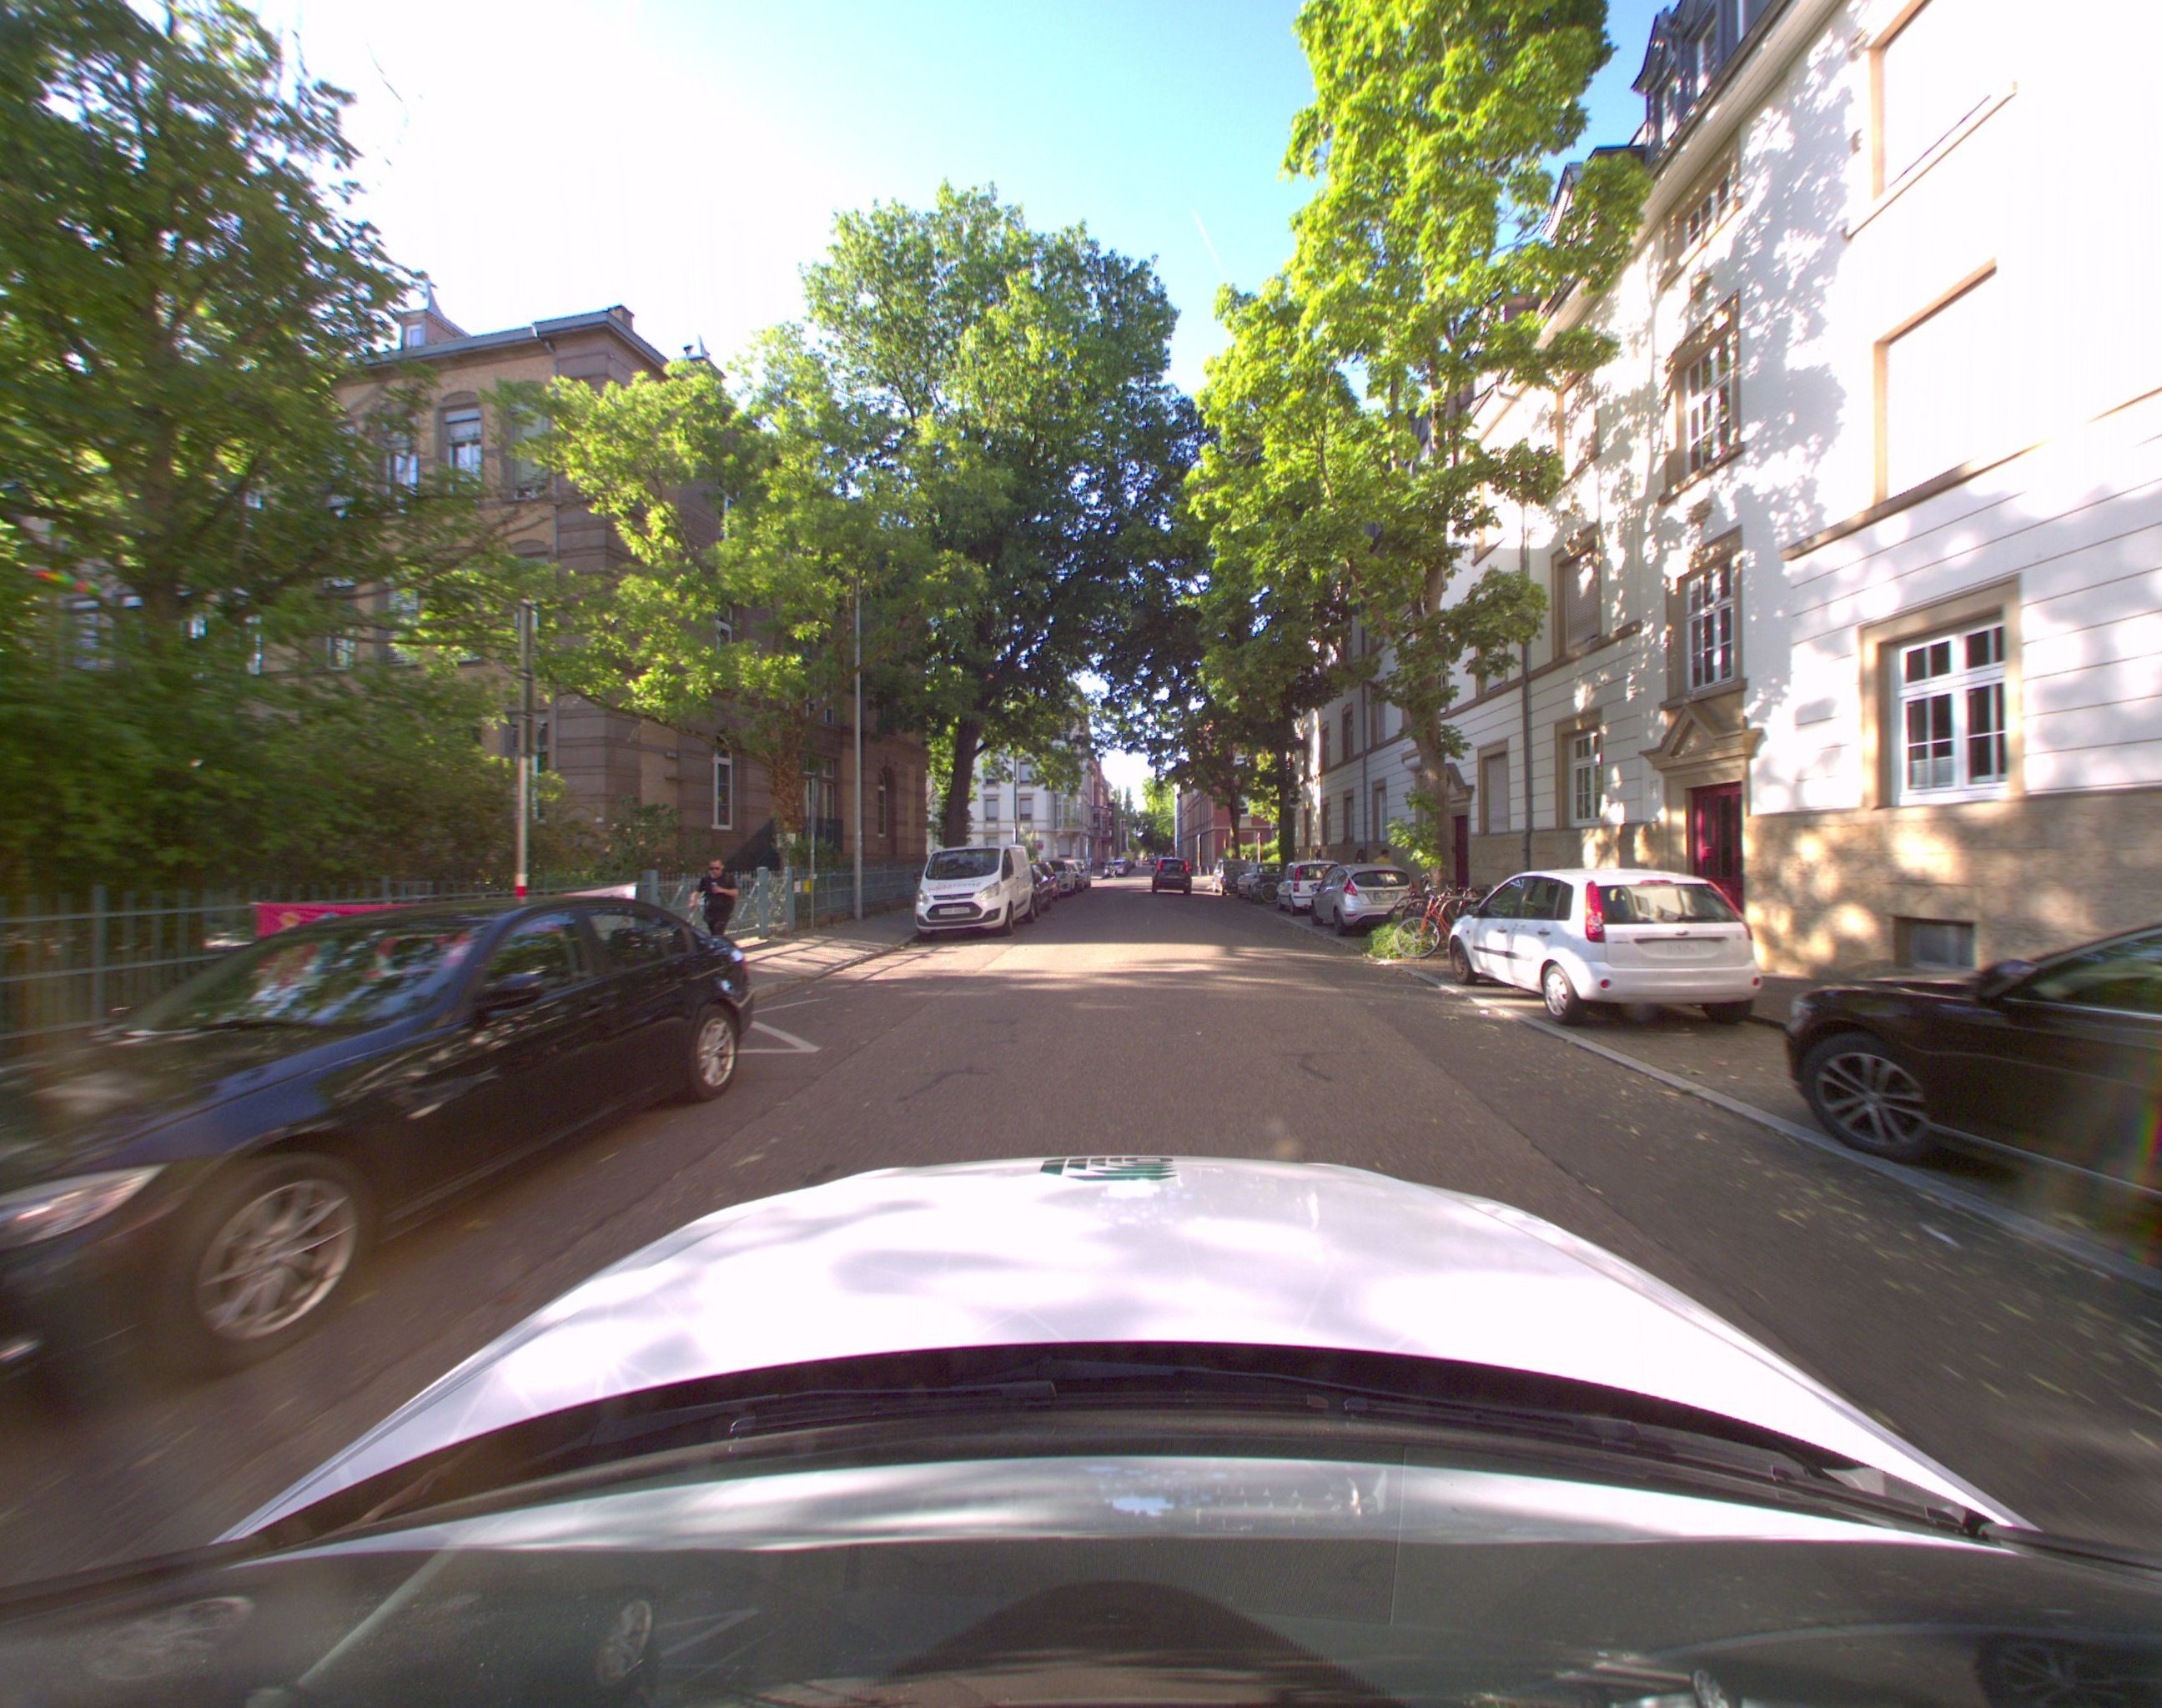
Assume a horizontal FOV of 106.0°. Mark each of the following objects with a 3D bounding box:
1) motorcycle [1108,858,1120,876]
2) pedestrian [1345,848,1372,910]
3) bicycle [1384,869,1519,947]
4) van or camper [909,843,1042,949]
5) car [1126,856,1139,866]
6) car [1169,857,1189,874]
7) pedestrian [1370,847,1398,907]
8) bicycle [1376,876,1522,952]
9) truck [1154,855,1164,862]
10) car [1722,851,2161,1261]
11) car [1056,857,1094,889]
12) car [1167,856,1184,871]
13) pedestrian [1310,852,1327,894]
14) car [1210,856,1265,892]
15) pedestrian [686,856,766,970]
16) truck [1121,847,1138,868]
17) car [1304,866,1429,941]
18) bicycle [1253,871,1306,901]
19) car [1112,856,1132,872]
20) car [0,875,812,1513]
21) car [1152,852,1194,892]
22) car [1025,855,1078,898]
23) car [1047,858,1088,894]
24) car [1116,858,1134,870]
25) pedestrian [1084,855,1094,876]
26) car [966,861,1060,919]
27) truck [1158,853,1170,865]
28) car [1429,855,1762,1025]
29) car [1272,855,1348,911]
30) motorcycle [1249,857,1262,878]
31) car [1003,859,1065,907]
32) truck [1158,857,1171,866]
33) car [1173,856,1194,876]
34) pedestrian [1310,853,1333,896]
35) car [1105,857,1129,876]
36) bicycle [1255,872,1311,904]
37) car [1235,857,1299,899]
[{"bbox_3d":[2.732,1.064,67.858,0.695,1.460,1.748,-2,0,-5],"label":"motorcycle"},{"bbox_3d":[7.958,0.694,23.397,0.517,1.735,0.879,-1,0,6],"label":"pedestrian"},{"bbox_3d":[6.396,0.926,14.147,1.960,1.229,0.761,-3,-1,5],"label":"bicycle"},{"bbox_3d":[-2.219,0.849,18.857,1.913,1.980,5.467,-4,-1,3],"label":"van or camper"},{"bbox_3d":[8.844,1.170,138.870,1.952,1.479,3.931,-4,0,5],"label":"car"},{"bbox_3d":[8.742,1.014,72.788,1.655,1.505,3.763,0,0,5],"label":"car"},{"bbox_3d":[8.642,0.649,23.228,0.592,1.701,0.690,0,0,6],"label":"pedestrian"},{"bbox_3d":[5.747,0.931,12.792,1.960,1.073,0.600,-3,-1,5],"label":"bicycle"},{"bbox_3d":[16.366,0.942,171.096,1.984,1.456,4.005,-1,0,4],"label":"truck"},{"bbox_3d":[4.879,0.744,2.980,1.779,1.514,4.464,0,0,4],"label":"car"},{"bbox_3d":[-0.264,1.007,44.576,1.689,1.550,3.923,-4,0,4],"label":"car"},{"bbox_3d":[9.692,0.962,83.764,1.655,1.505,3.763,0,0,5],"label":"car"},{"bbox_3d":[9.703,0.765,33.274,0.487,1.705,0.758,0,0,3],"label":"pedestrian"},{"bbox_3d":[7.162,0.885,37.655,1.782,1.551,4.411,-1,0,2],"label":"car"},{"bbox_3d":[-5.041,0.823,11.588,0.877,1.577,0.530,0,-1,5],"label":"pedestrian"},{"bbox_3d":[7.403,0.476,123.655,2.060,2.926,5.075,-5,-1,5],"label":"truck"},{"bbox_3d":[6.163,1.002,18.065,1.614,1.394,4.163,-1,0,5],"label":"car"},{"bbox_3d":[6.977,1.123,28.726,1.707,0.949,0.734,-2,0,4],"label":"bicycle"},{"bbox_3d":[4.440,1.044,87.514,1.820,1.479,3.931,-4,0,5],"label":"car"},{"bbox_3d":[-3.261,0.930,4.346,1.706,1.395,4.784,-5,-1,3],"label":"car"},{"bbox_3d":[3.866,0.733,34.610,1.626,1.550,3.268,1,1,4],"label":"car"},{"bbox_3d":[-1.176,0.911,34.594,1.818,1.554,4.135,-5,-1,2],"label":"car"},{"bbox_3d":[-0.652,1.021,39.483,1.741,1.474,4.462,-5,0,-1],"label":"car"},{"bbox_3d":[5.495,1.223,101.940,1.952,1.224,3.931,-4,0,5],"label":"car"},{"bbox_3d":[0.738,1.054,73.487,0.717,1.839,0.629,0,0,15],"label":"pedestrian"},{"bbox_3d":[-1.912,0.997,24.372,1.991,1.457,4.612,-3,0,5],"label":"car"},{"bbox_3d":[13.910,0.858,136.949,1.984,1.992,4.005,-1,0,4],"label":"truck"},{"bbox_3d":[5.413,0.786,9.187,1.589,1.488,3.753,-2,0,5],"label":"car"},{"bbox_3d":[6.658,0.793,23.988,1.513,1.511,3.548,-1,0,5],"label":"car"},{"bbox_3d":[12.619,0.937,58.795,0.821,1.404,2.565,-1,1,13],"label":"motorcycle"},{"bbox_3d":[-1.614,0.993,29.271,1.594,1.460,4.032,-4,0,4],"label":"car"},{"bbox_3d":[13.524,1.170,131.573,1.984,1.456,4.005,-1,0,4],"label":"truck"},{"bbox_3d":[8.543,0.987,68.292,1.655,1.669,3.763,0,0,5],"label":"car"},{"bbox_3d":[9.570,0.801,32.414,0.773,1.694,0.876,0,0,7],"label":"pedestrian"},{"bbox_3d":[3.136,1.091,71.139,1.788,1.432,3.931,-4,0,5],"label":"car"},{"bbox_3d":[6.815,1.144,27.511,1.761,1.039,0.607,0,0,4],"label":"bicycle"},{"bbox_3d":[7.097,0.882,31.416,1.605,1.478,3.870,-1,0,0],"label":"car"}]
